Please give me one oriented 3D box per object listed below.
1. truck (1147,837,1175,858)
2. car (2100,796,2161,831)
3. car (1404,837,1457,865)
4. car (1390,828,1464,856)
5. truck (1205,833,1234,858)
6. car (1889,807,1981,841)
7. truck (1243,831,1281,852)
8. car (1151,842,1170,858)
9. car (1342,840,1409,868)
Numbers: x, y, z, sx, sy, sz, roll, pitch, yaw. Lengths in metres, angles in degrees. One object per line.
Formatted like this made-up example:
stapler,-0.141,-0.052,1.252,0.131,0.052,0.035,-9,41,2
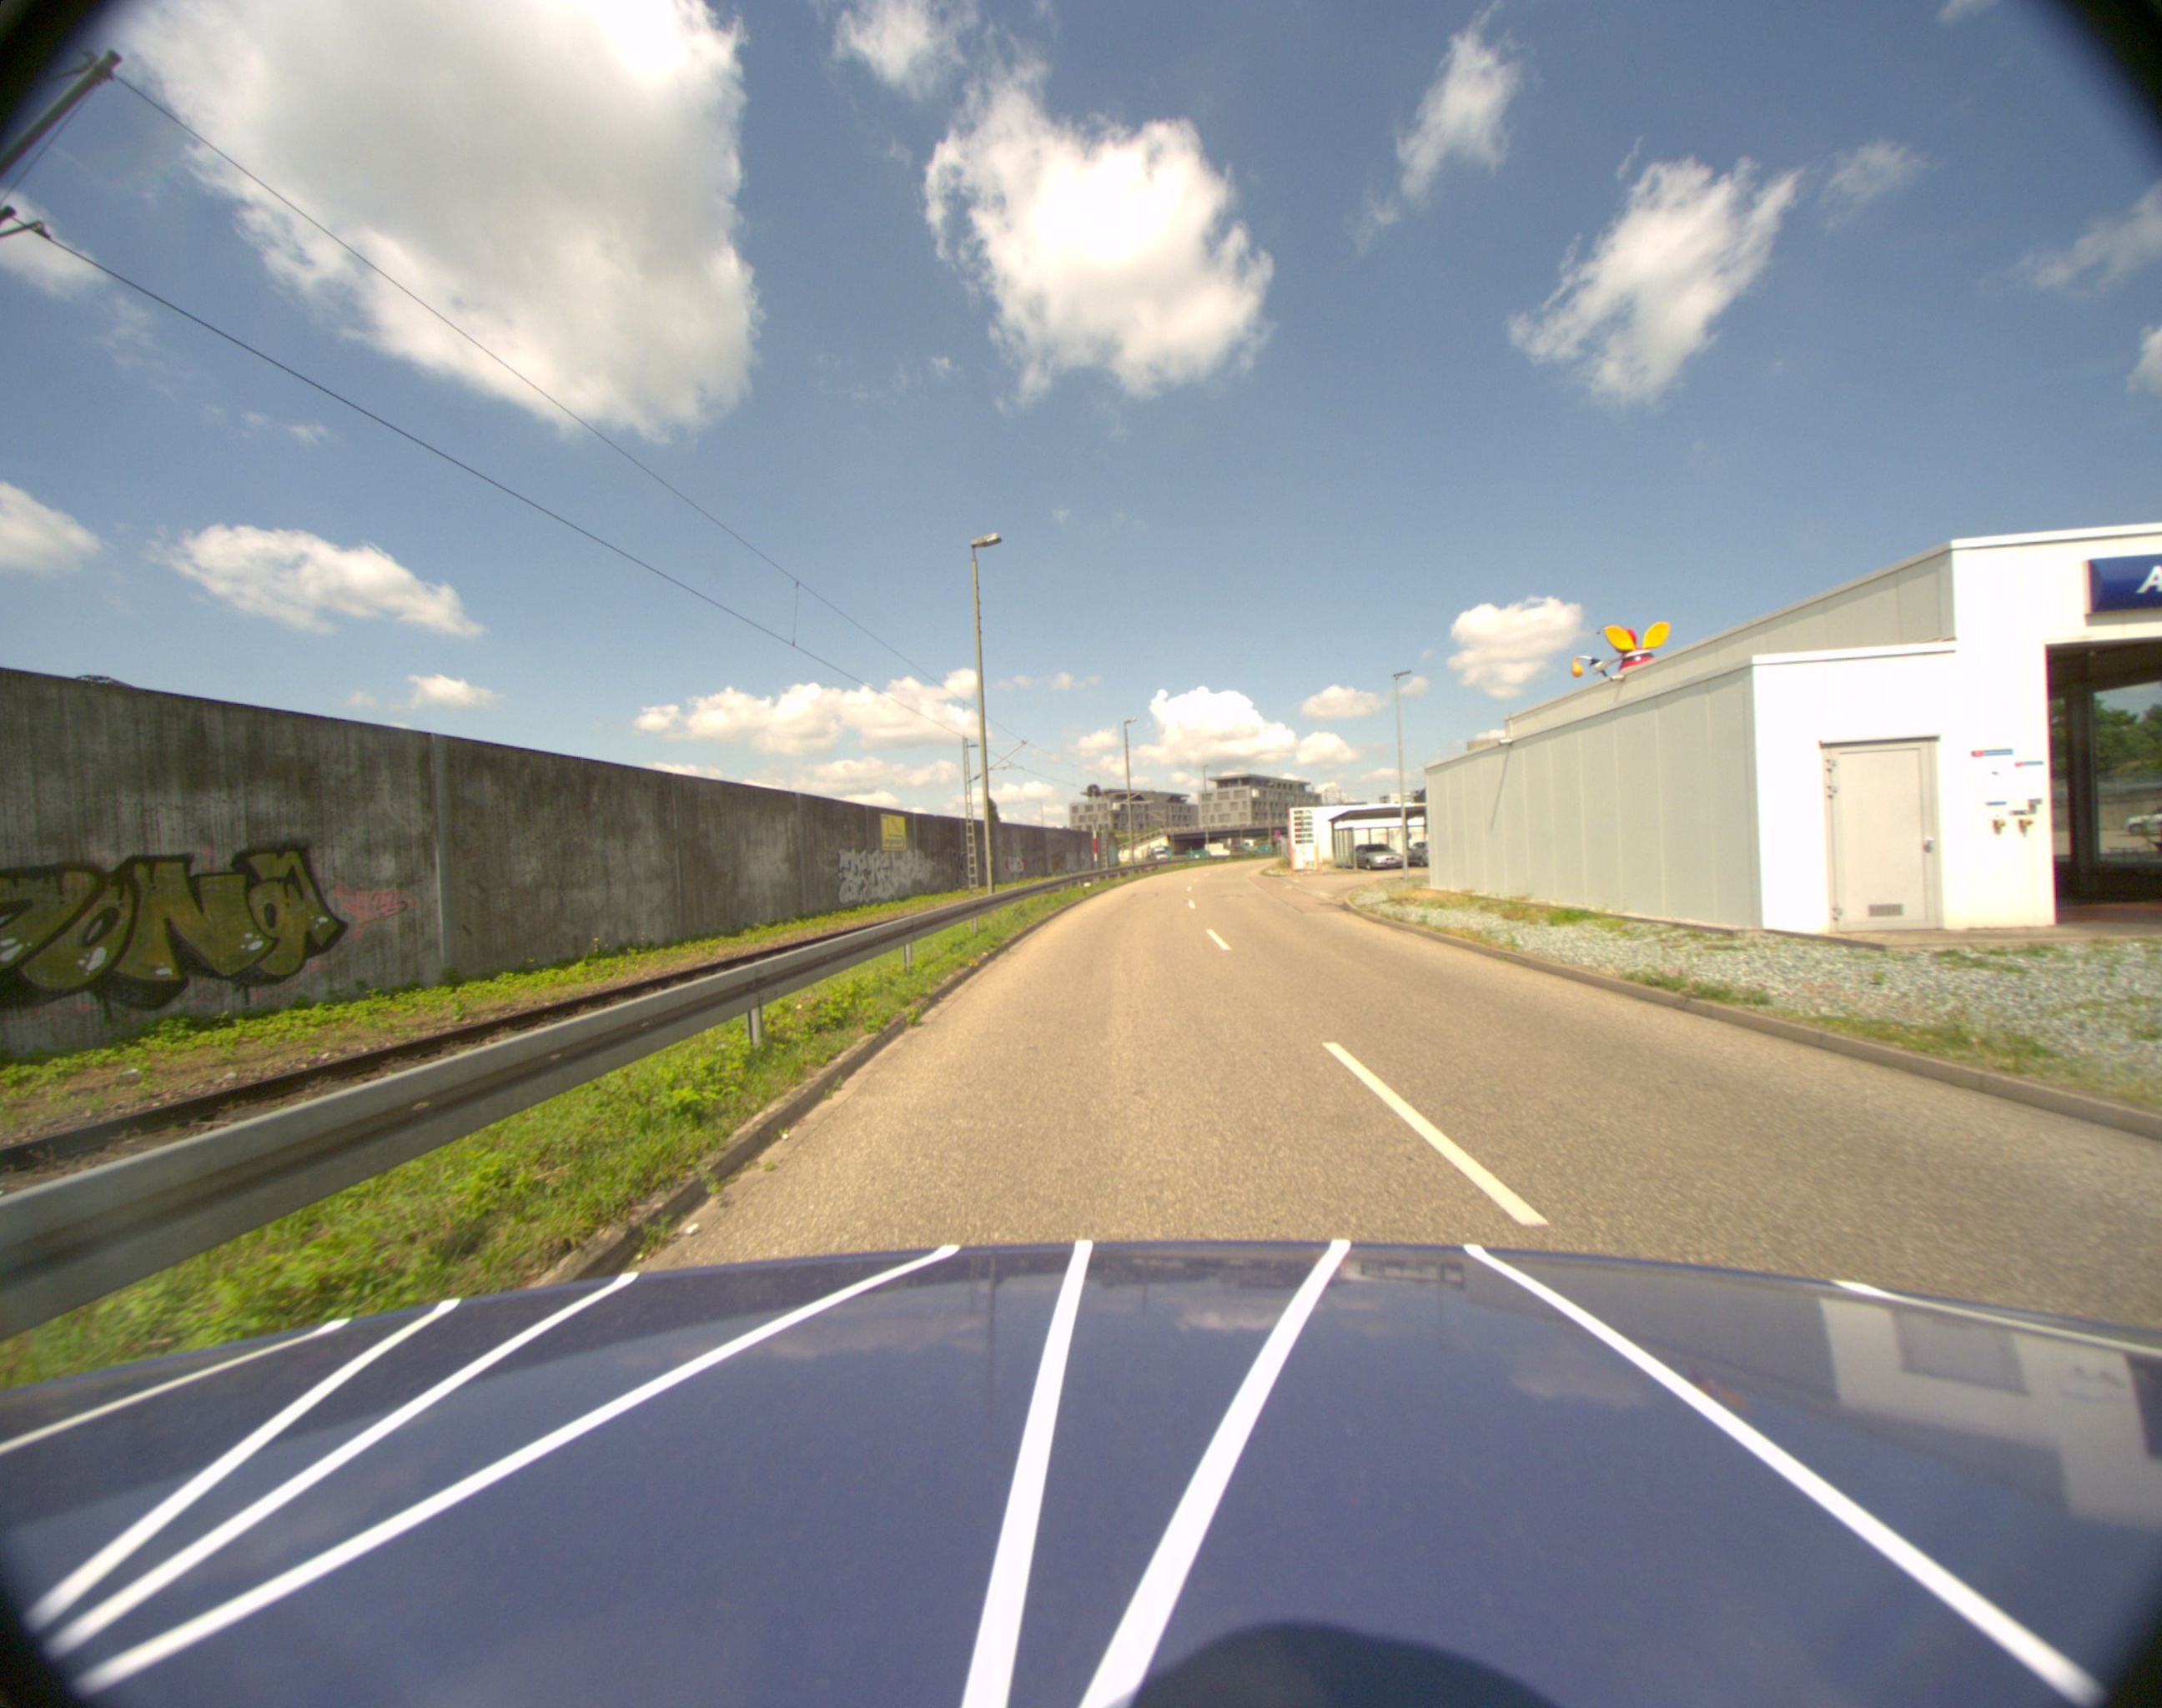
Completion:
truck,14.418,-1.133,137.925,2.656,3.625,6.879,-5,1,-14
car,50.426,-1.900,34.716,1.998,1.593,4.312,-2,1,0
car,18.895,-0.185,41.157,1.597,1.337,3.056,-3,1,5
car,25.091,-0.867,55.192,4.403,1.822,2.004,-1,1,44
truck,19.854,-1.252,109.507,2.992,3.400,8.114,-2,1,3
car,43.365,-1.484,38.670,1.270,1.615,3.124,-2,1,5
truck,29.067,-2.018,122.012,5.499,3.080,2.004,-2,1,36
car,13.215,-0.640,126.706,2.066,2.512,5.879,-4,1,-4
car,16.307,-0.029,42.327,1.922,1.369,4.791,-3,1,2
